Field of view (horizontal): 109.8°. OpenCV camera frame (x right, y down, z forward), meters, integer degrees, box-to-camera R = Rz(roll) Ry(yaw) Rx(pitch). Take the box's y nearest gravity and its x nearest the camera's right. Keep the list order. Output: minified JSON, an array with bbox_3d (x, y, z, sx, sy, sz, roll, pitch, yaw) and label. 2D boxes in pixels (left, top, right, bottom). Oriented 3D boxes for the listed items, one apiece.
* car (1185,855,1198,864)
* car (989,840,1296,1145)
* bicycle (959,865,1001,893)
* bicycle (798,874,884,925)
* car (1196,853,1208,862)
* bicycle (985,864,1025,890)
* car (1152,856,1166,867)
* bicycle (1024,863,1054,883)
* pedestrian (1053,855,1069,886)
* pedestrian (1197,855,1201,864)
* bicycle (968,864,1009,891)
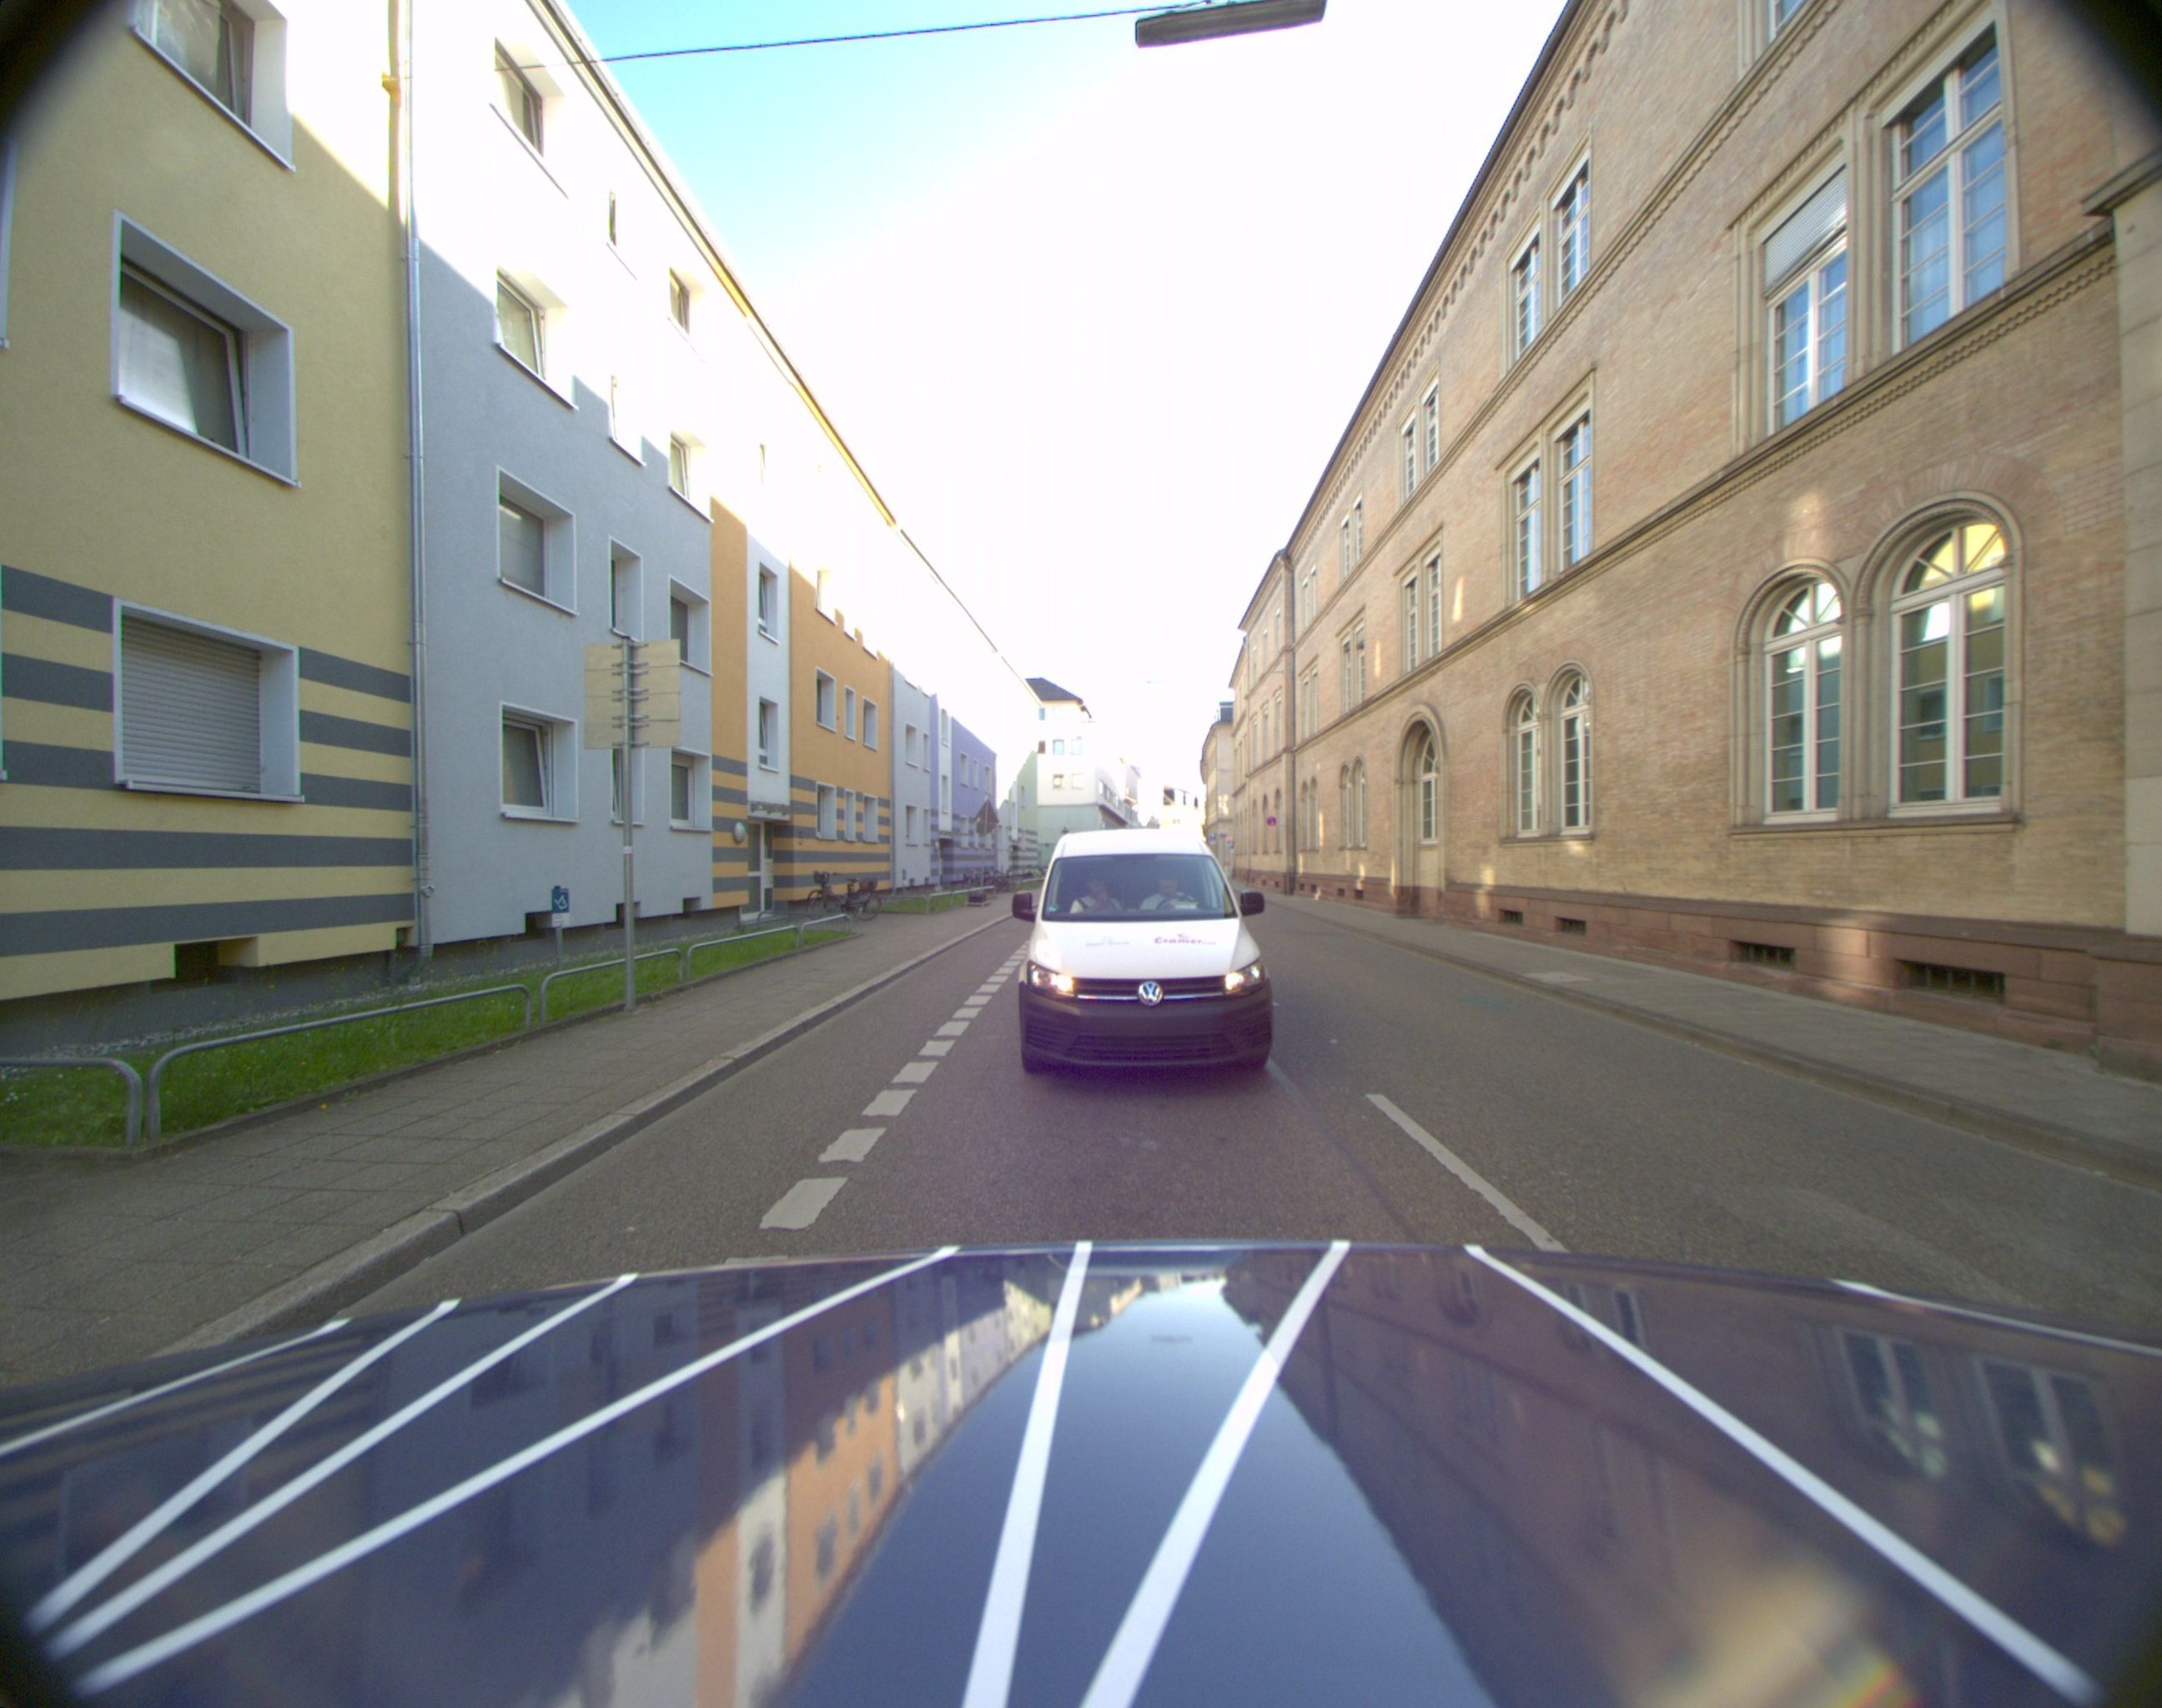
[{"bbox_3d":[22.103,1.075,152.025,1.996,1.643,4.233,-2,1,17],"label":"car"},{"bbox_3d":[0.395,0.778,7.081,1.769,1.761,5.331,-1,1,1],"label":"car"},{"bbox_3d":[-4.240,1.046,31.843,1.676,1.145,0.484,0,0,4],"label":"bicycle"},{"bbox_3d":[-5.389,1.014,17.107,1.780,1.116,0.484,0,0,-5],"label":"bicycle"},{"bbox_3d":[26.086,0.789,163.756,1.996,1.643,4.233,-2,1,17],"label":"car"},{"bbox_3d":[-3.376,1.002,33.683,1.676,1.145,0.484,0,0,4],"label":"bicycle"},{"bbox_3d":[12.642,1.184,122.703,1.997,1.643,4.231,-2,1,9],"label":"car"},{"bbox_3d":[-2.520,1.151,46.054,1.779,1.145,0.484,0,0,0],"label":"bicycle"},{"bbox_3d":[-1.047,0.875,40.884,0.705,1.627,0.833,2,2,5],"label":"pedestrian"},{"bbox_3d":[22.487,1.083,144.495,0.705,1.627,0.833,3,2,12],"label":"pedestrian"},{"bbox_3d":[-4.035,1.019,33.137,1.676,1.145,0.484,0,0,4],"label":"bicycle"}]
